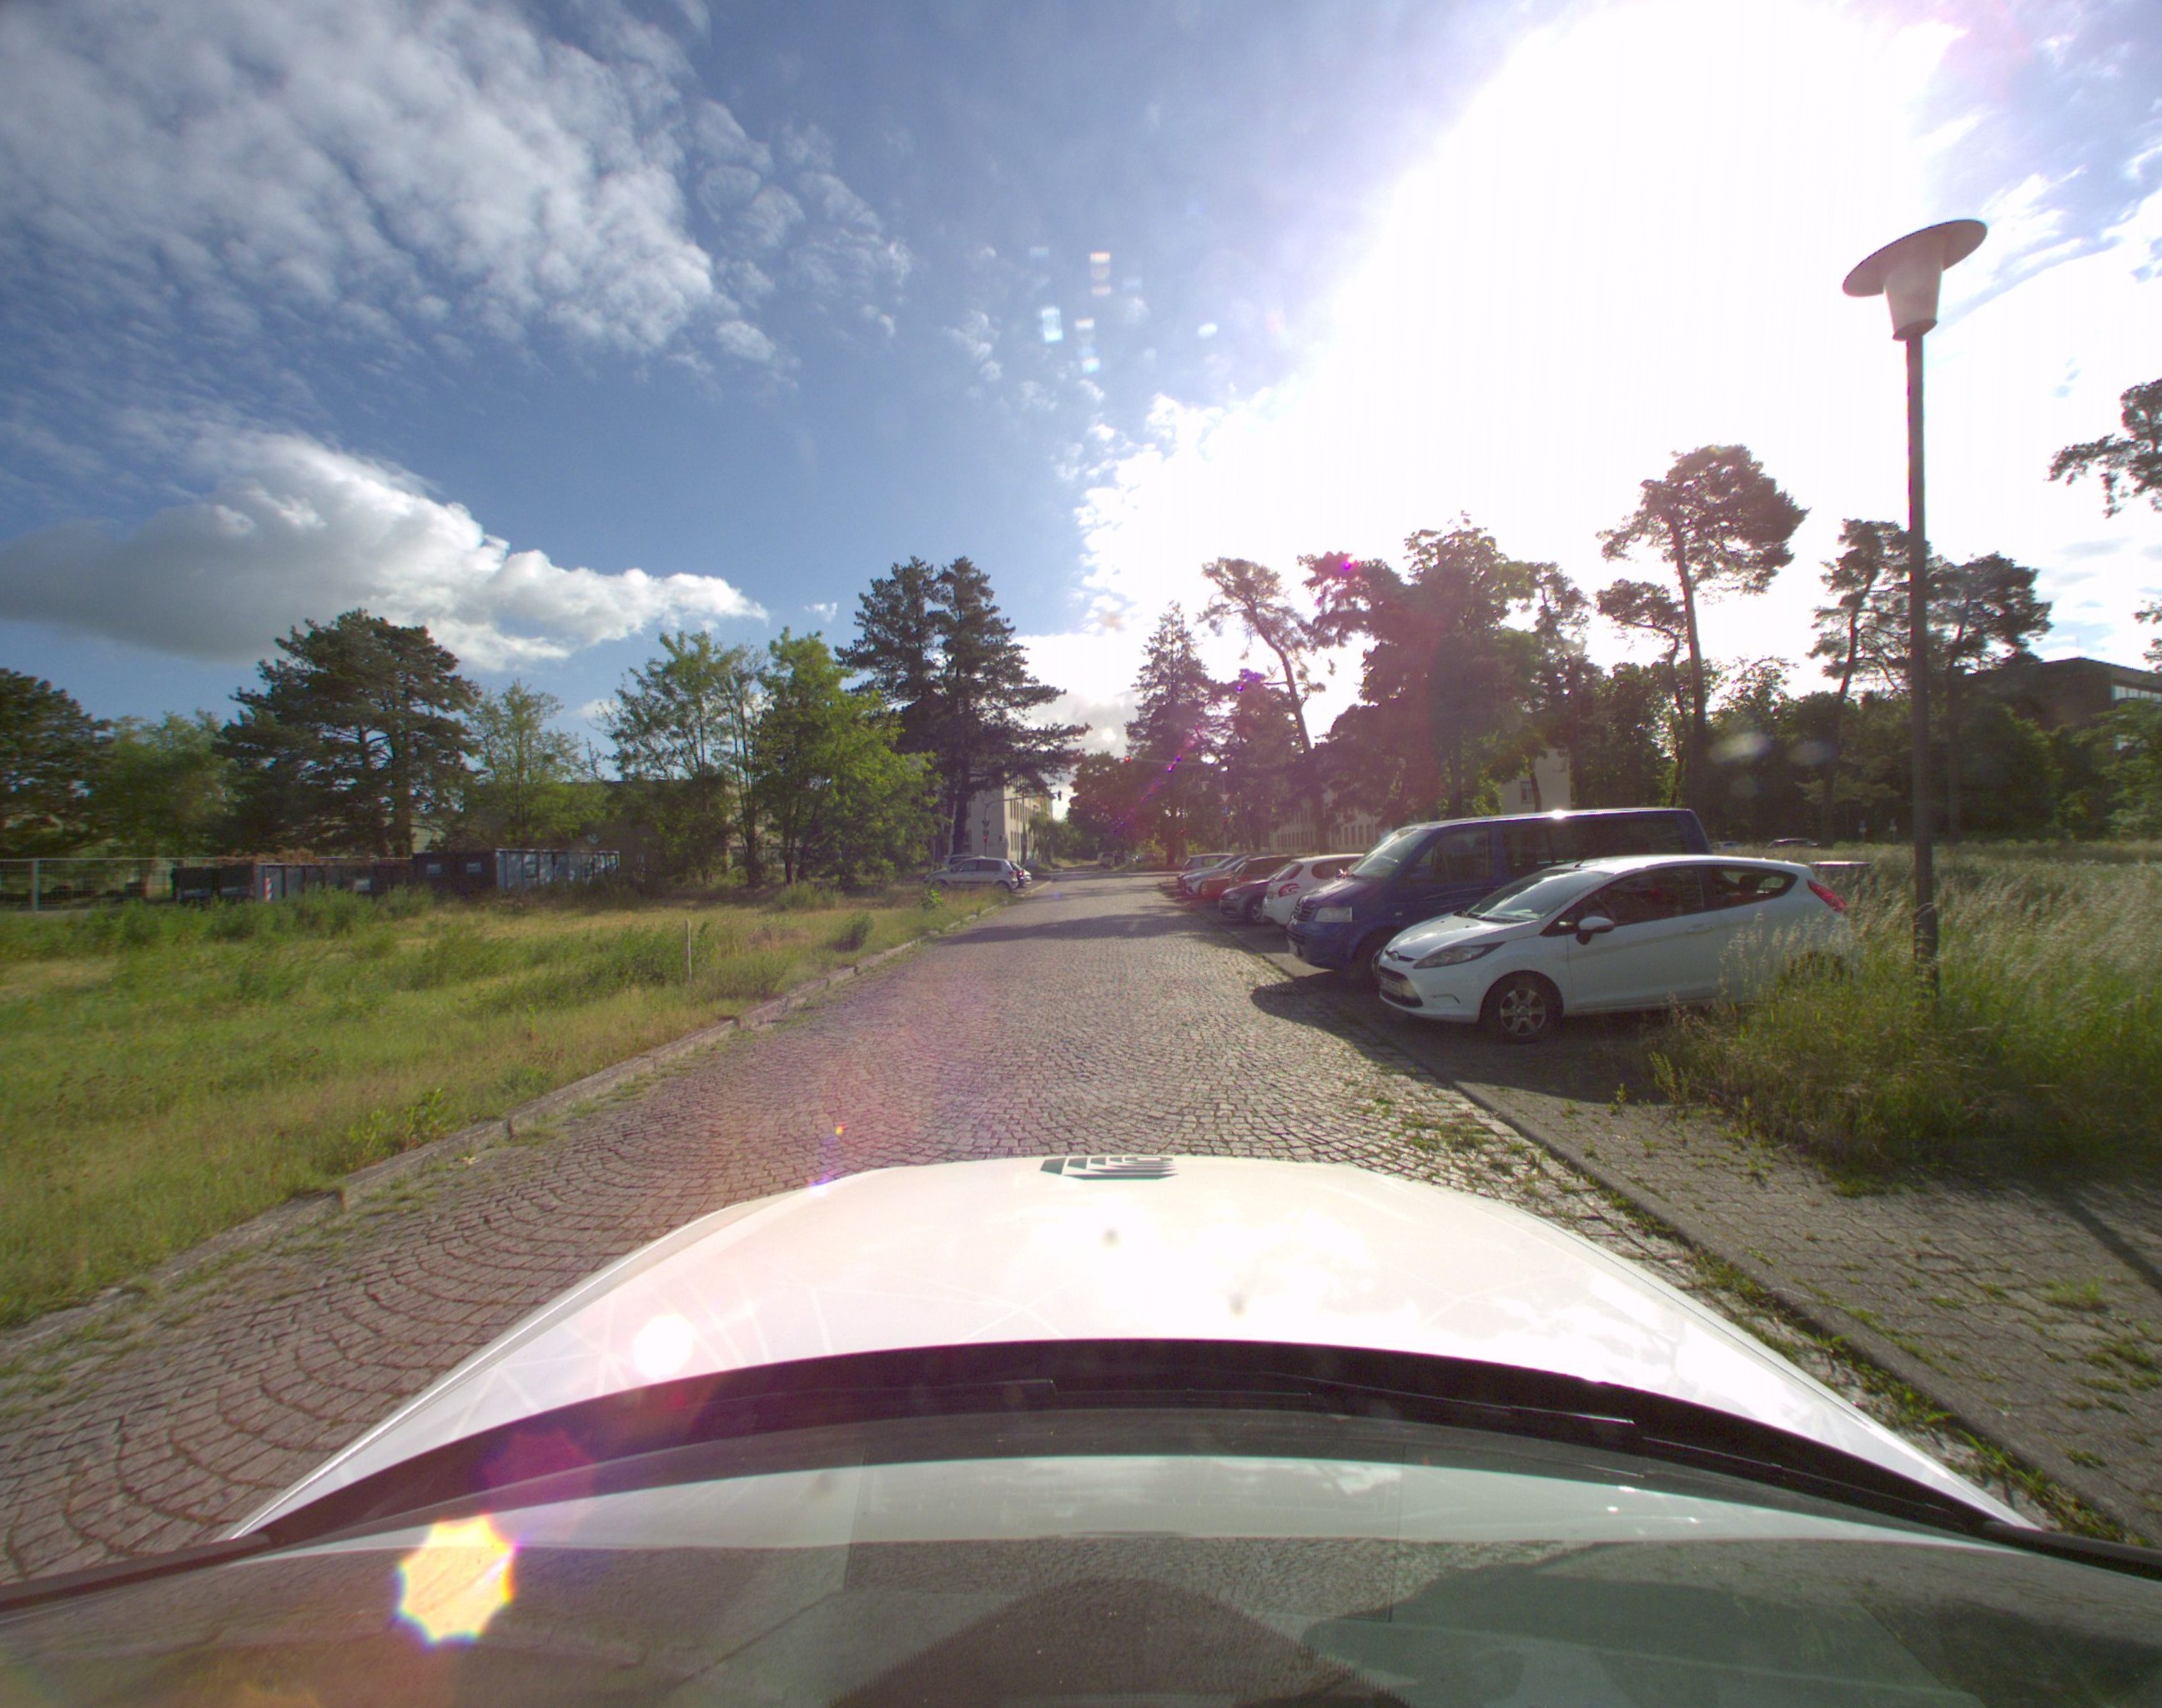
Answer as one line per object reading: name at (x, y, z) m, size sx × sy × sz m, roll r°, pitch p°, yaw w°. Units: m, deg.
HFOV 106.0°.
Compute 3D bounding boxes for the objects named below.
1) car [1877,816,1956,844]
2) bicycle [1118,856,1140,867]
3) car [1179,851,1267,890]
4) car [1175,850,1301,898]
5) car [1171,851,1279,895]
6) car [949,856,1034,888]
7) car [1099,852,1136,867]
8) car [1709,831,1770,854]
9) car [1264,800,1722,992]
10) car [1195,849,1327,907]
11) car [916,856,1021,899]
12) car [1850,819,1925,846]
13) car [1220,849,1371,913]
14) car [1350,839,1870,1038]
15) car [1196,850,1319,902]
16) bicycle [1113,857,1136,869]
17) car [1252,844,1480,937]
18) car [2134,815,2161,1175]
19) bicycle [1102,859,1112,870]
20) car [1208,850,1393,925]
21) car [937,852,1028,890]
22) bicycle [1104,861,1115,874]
car at (64.442, -1.809, 62.890) m, size 3.972 × 2.013 × 2.001 m, roll -1°, pitch 0°, yaw 1°
bicycle at (4.925, 0.818, 84.155) m, size 2.172 × 1.100 × 0.805 m, roll -1°, pitch 0°, yaw -8°
car at (5.847, 0.673, 33.788) m, size 3.332 × 1.483 × 1.645 m, roll -1°, pitch 0°, yaw 0°
car at (5.414, 0.679, 28.383) m, size 4.024 × 1.529 × 1.644 m, roll -1°, pitch 0°, yaw -2°
car at (5.457, 0.703, 31.155) m, size 3.823 × 1.529 × 1.645 m, roll -1°, pitch 0°, yaw 0°
car at (-4.475, 0.881, 41.052) m, size 3.973 × 1.453 × 2.001 m, roll 1°, pitch 0°, yaw 1°
car at (4.490, 0.635, 100.333) m, size 4.464 × 1.728 × 2.000 m, roll -1°, pitch 0°, yaw 1°
car at (60.477, -1.036, 74.873) m, size 3.972 × 2.013 × 2.001 m, roll -1°, pitch 0°, yaw 1°
car at (4.869, 0.461, 10.168) m, size 4.664 × 2.013 × 2.082 m, roll -1°, pitch 0°, yaw -2°
car at (5.204, 0.680, 23.845) m, size 3.466 × 1.529 × 1.645 m, roll -1°, pitch 0°, yaw 0°
car at (-4.528, 0.917, 33.257) m, size 3.975 × 1.600 × 1.999 m, roll -1°, pitch 0°, yaw -1°
car at (64.331, -1.710, 64.995) m, size 3.972 × 2.013 × 2.001 m, roll -1°, pitch 0°, yaw 1°
car at (5.493, 0.673, 21.144) m, size 3.466 × 1.529 × 1.645 m, roll -1°, pitch 0°, yaw 0°
car at (4.617, 0.688, 7.492) m, size 3.708 × 1.488 × 1.645 m, roll -2°, pitch 0°, yaw -1°
car at (5.627, 0.672, 26.194) m, size 3.591 × 1.529 × 1.645 m, roll -1°, pitch 0°, yaw 0°
bicycle at (4.404, 0.903, 82.850) m, size 2.172 × 1.100 × 0.805 m, roll -1°, pitch 0°, yaw -8°
car at (5.246, 0.656, 15.339) m, size 3.679 × 1.465 × 1.646 m, roll -3°, pitch 0°, yaw 2°
car at (4.616, 0.634, 1.135) m, size 3.923 × 1.622 × 1.771 m, roll -1°, pitch -2°, yaw 0°
bicycle at (2.653, 1.064, 82.553) m, size 0.803 × 1.100 × 2.177 m, roll -1°, pitch 0°, yaw -4°
car at (4.829, 0.717, 18.239) m, size 3.663 × 1.467 × 1.645 m, roll -2°, pitch 0°, yaw 0°
car at (-4.629, 0.781, 38.654) m, size 3.973 × 1.601 × 2.001 m, roll 2°, pitch 0°, yaw 1°
bicycle at (2.799, 1.304, 79.422) m, size 0.803 × 1.169 × 2.177 m, roll -3°, pitch 0°, yaw -4°
